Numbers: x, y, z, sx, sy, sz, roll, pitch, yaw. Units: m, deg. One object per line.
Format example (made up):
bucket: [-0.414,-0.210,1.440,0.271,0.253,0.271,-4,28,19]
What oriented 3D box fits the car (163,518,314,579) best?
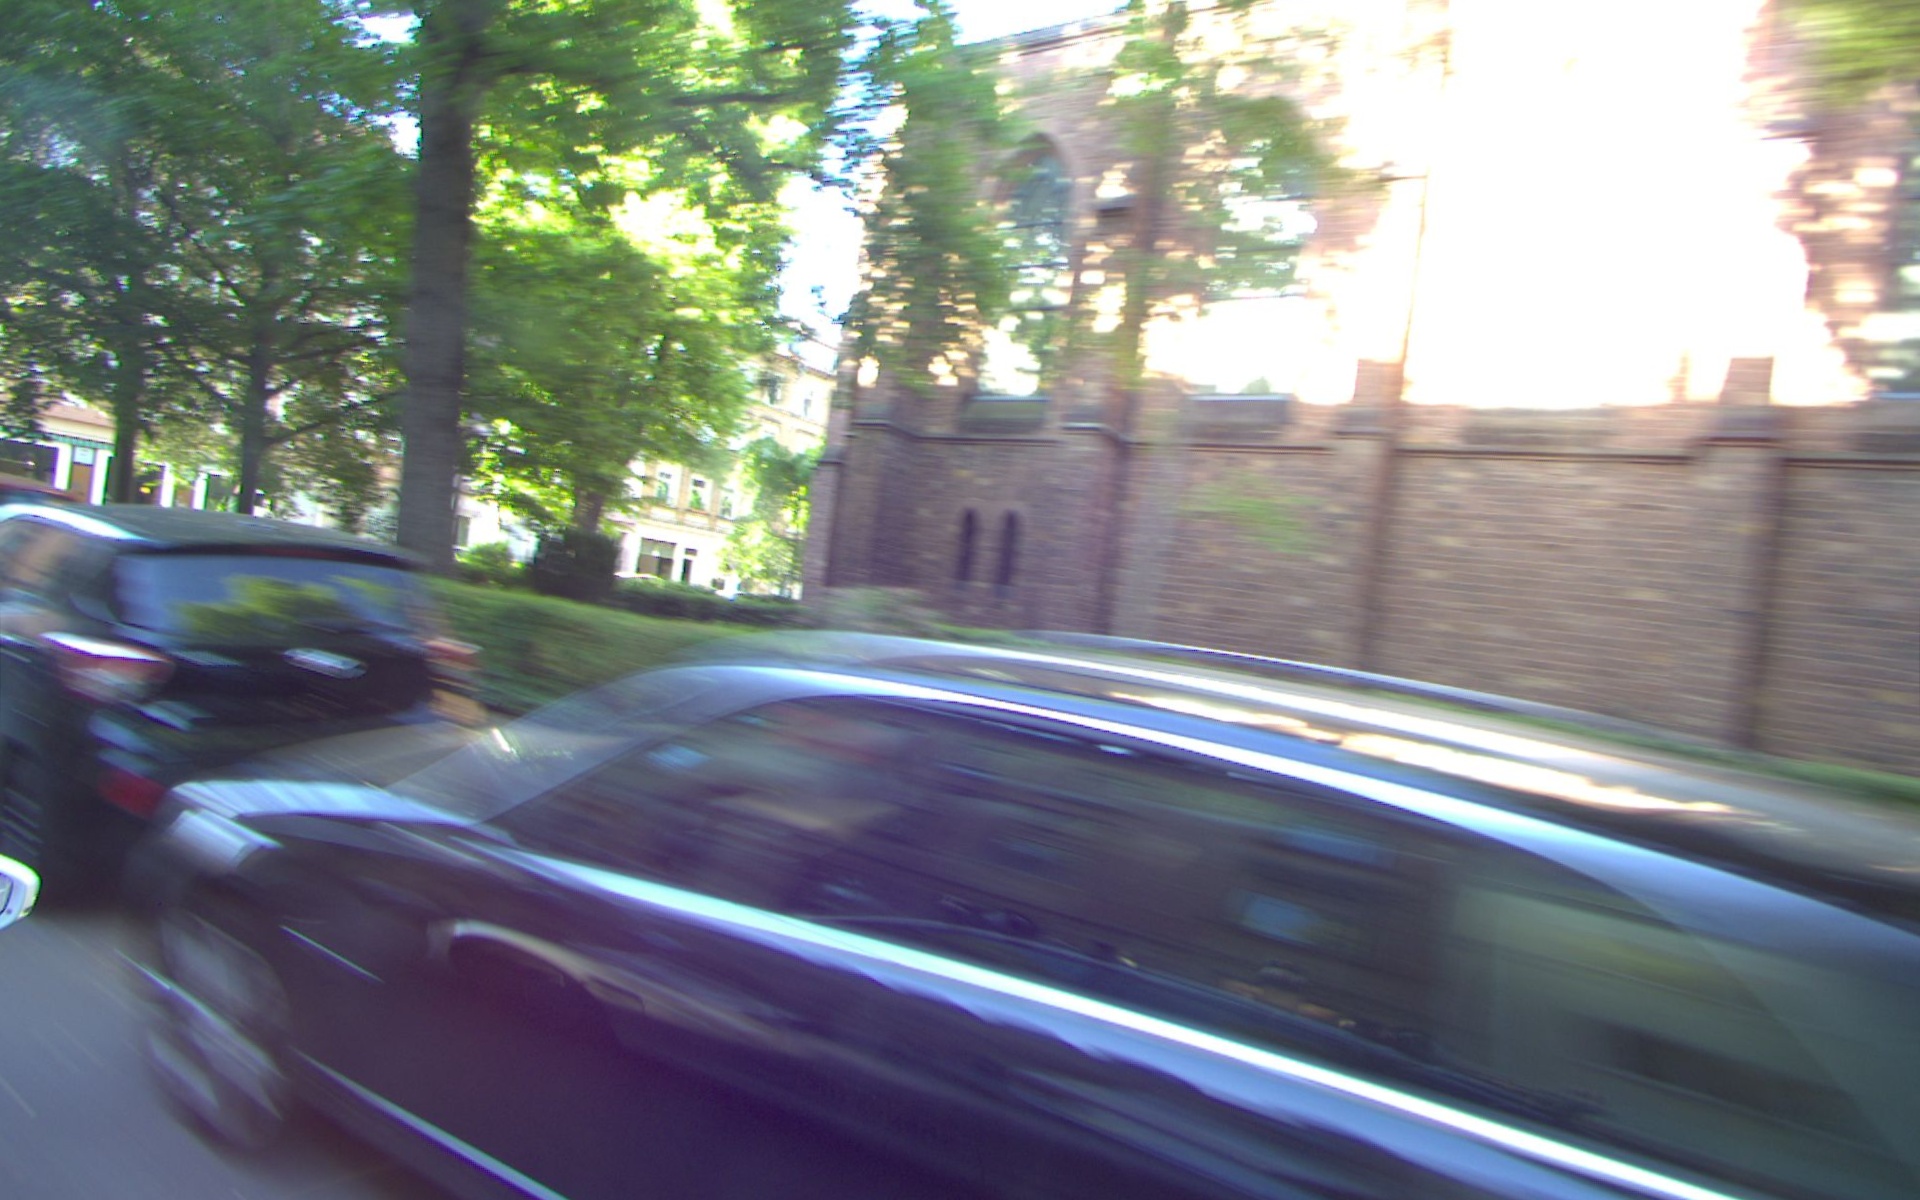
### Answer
car: [-24.836,-1.755,34.736,1.610,1.489,3.855,4,-4,38]

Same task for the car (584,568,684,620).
car: [-13.564,-0.240,42.011,1.610,1.667,3.531,4,-4,39]

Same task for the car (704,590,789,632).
car: [-9.881,0.517,46.712,1.610,1.489,3.531,4,-4,39]

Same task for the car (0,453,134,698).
car: [-8.135,-0.330,7.583,3.797,1.647,1.619,6,3,28]

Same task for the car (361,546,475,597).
car: [-21.285,-1.110,39.600,1.610,1.489,3.531,4,-4,39]

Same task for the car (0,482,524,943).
car: [-4.052,0.232,4.986,3.714,1.507,1.618,6,3,32]

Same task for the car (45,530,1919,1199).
car: [-0.107,0.752,2.434,4.614,1.461,1.676,6,3,28]
